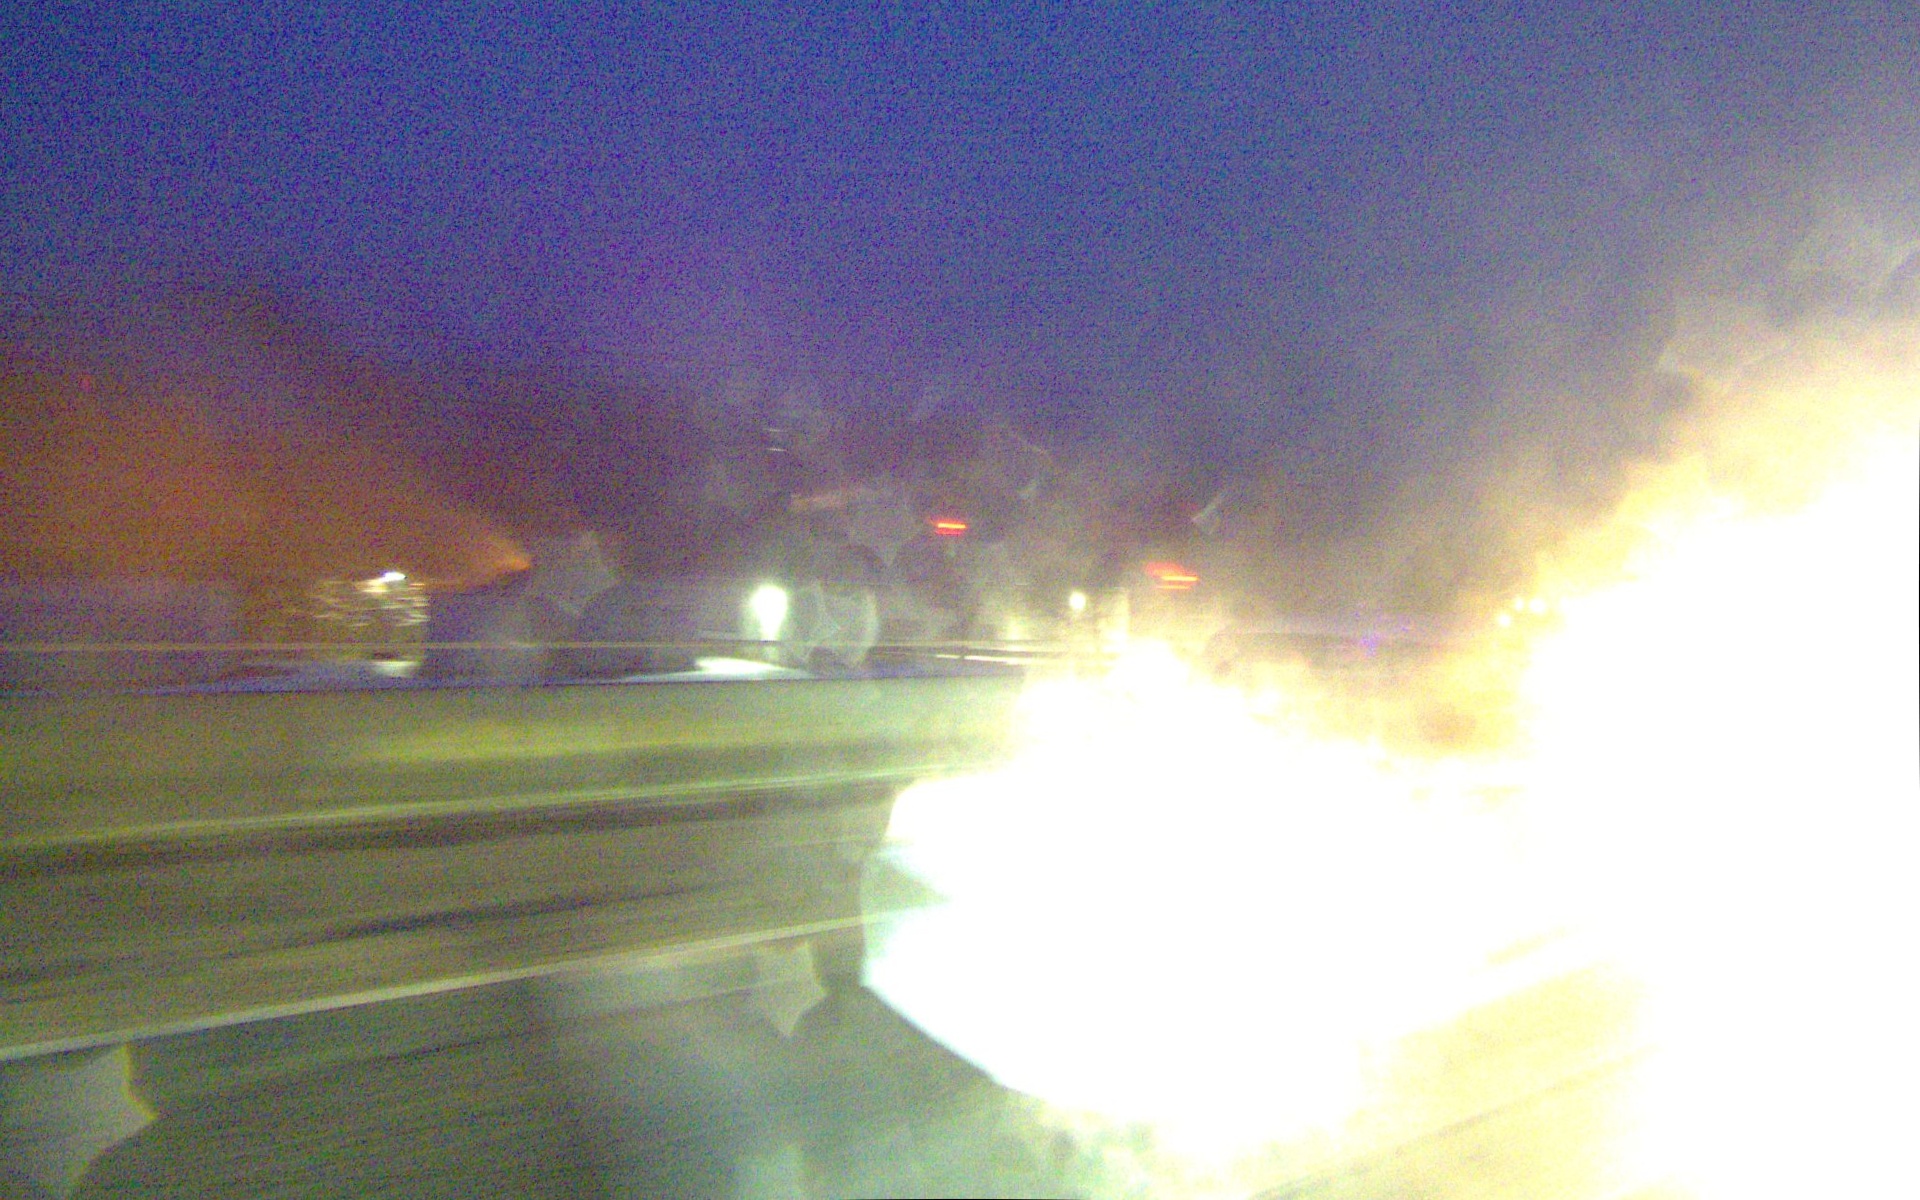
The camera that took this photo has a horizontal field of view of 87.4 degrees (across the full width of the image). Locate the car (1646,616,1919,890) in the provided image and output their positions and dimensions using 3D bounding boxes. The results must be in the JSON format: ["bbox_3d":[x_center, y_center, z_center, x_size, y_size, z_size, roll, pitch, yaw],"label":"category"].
[{"bbox_3d":[6.663,0.892,7.055,3.840,1.492,1.613,1,0,-31],"label":"car"}]

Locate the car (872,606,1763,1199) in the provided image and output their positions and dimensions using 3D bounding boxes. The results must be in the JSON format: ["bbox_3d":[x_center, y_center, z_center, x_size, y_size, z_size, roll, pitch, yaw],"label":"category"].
[{"bbox_3d":[1.615,0.803,4.161,3.595,1.492,1.659,1,0,-34],"label":"car"}]
